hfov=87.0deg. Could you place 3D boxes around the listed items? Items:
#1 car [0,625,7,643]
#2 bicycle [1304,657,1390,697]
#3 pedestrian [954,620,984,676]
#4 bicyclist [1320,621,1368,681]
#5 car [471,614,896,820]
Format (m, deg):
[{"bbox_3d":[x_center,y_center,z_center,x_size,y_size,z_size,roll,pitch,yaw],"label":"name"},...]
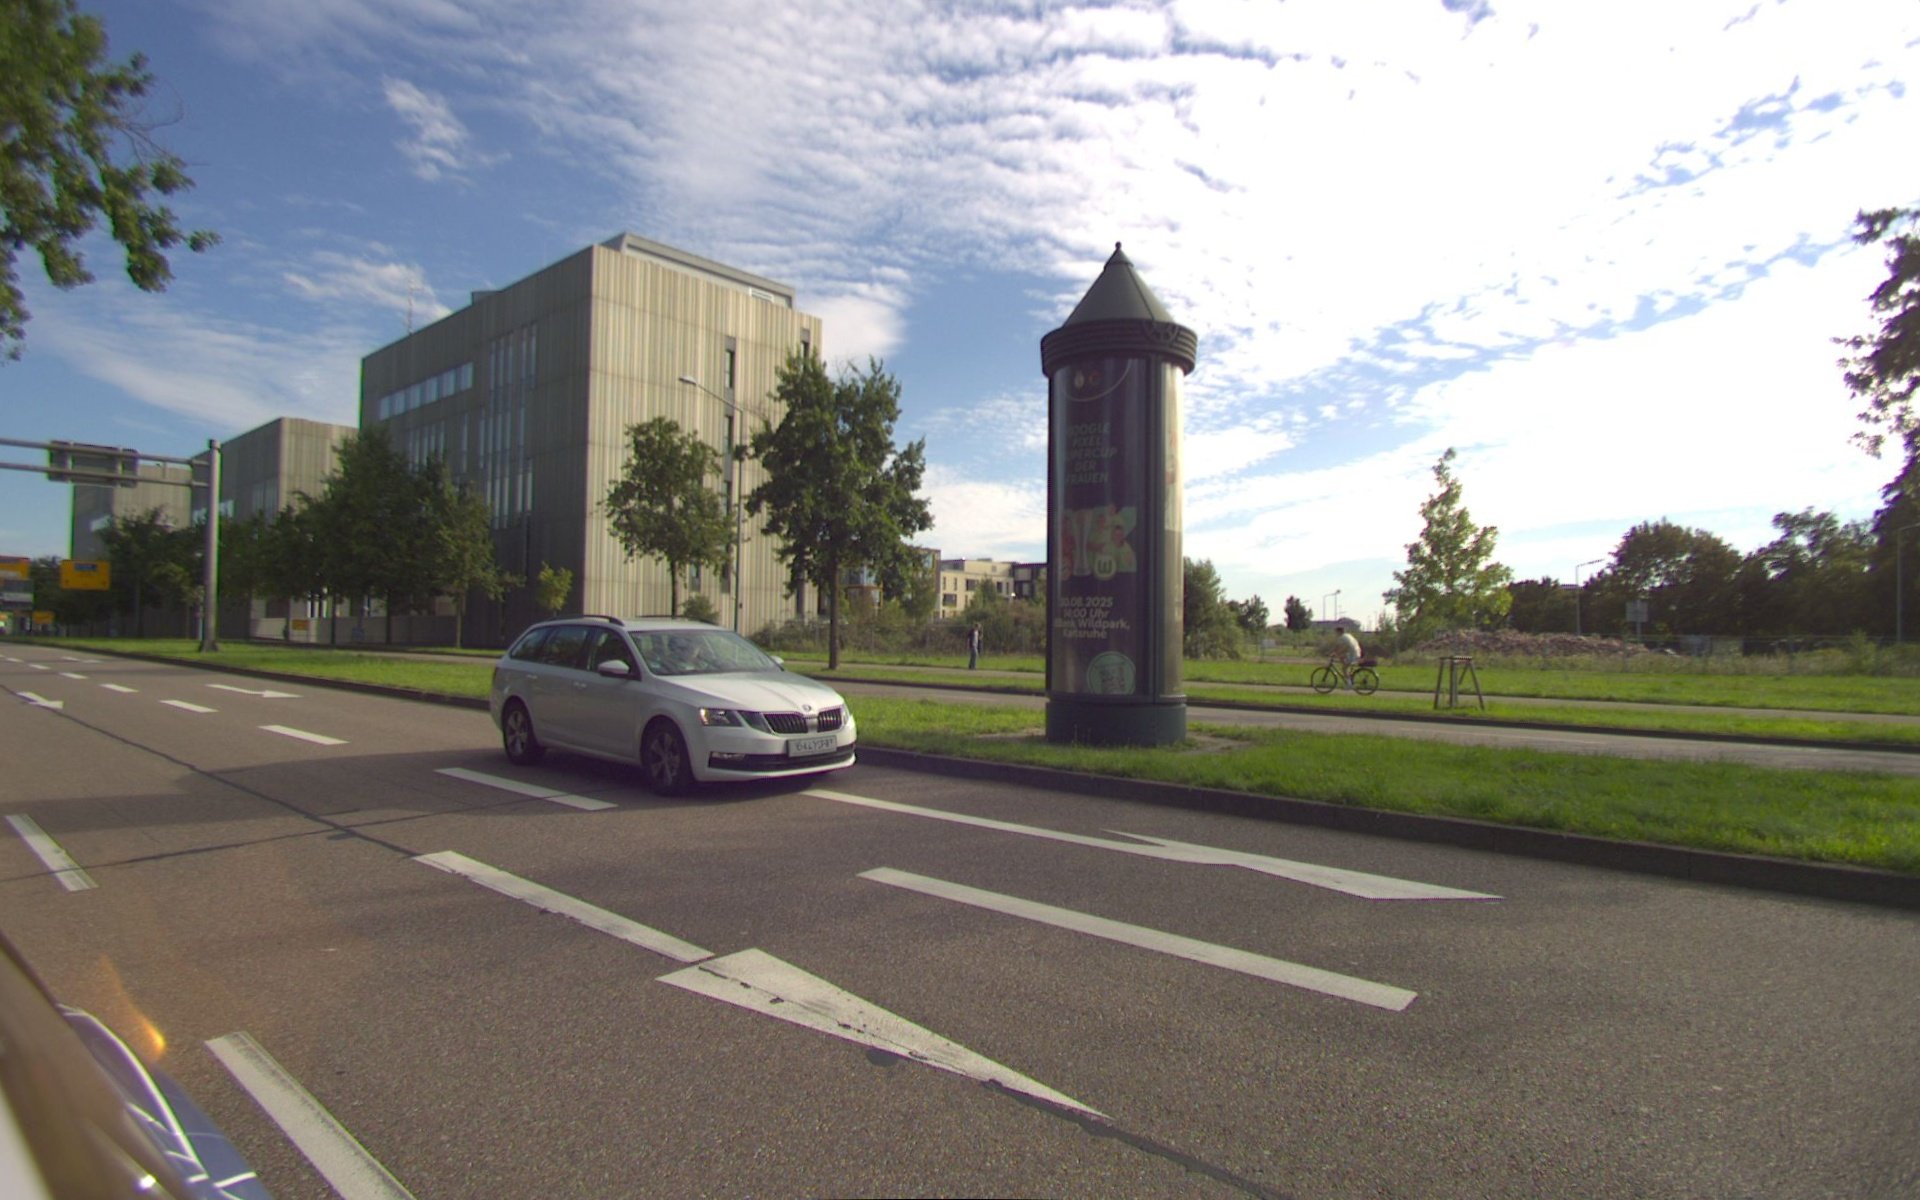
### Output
[{"bbox_3d":[-114.692,4.017,119.960,3.998,2.029,1.973,-1,-3,41],"label":"car"},{"bbox_3d":[10.059,1.985,26.370,1.910,0.989,0.885,-2,-4,41],"label":"bicycle"},{"bbox_3d":[0.324,1.762,37.491,0.867,2.029,0.667,-2,-3,41],"label":"pedestrian"},{"bbox_3d":[10.026,1.325,26.431,0.989,1.537,0.698,-1,-3,41],"label":"bicyclist"},{"bbox_3d":[-2.781,0.896,9.542,4.479,1.510,1.681,-1,-2,41],"label":"car"}]
